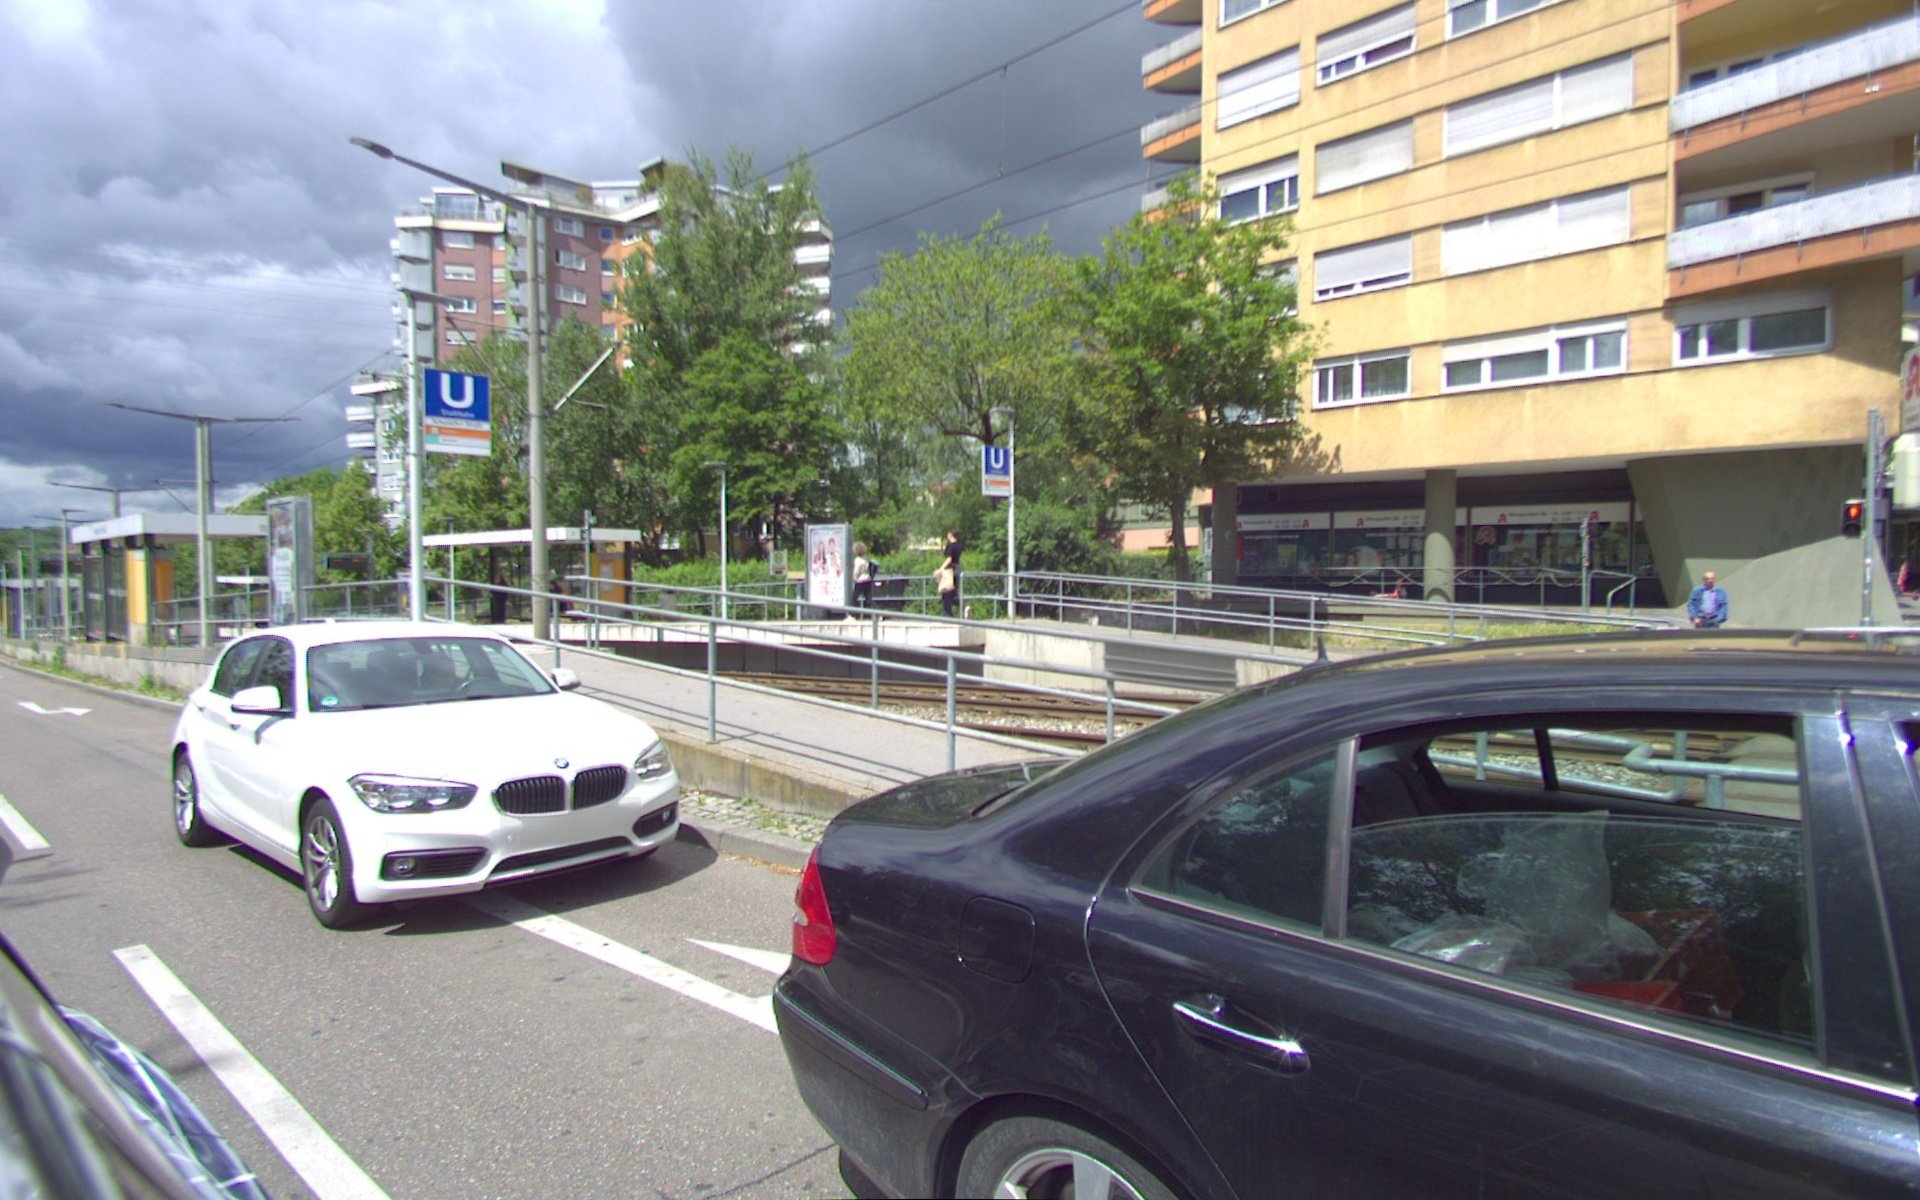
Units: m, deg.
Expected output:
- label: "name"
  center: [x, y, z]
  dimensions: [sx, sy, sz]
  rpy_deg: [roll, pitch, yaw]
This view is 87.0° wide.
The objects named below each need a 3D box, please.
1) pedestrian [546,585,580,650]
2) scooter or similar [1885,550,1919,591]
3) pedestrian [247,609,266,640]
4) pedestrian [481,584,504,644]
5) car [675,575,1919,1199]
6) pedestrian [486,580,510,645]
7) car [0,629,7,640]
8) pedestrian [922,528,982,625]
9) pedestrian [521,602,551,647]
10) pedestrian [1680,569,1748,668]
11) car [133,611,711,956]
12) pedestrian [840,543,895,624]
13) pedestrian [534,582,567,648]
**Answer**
- label: "pedestrian"
  center: [-12.065, 0.511, 30.775]
  dimensions: [0.572, 1.946, 0.761]
  rpy_deg: [-1, 0, 39]
- label: "scooter or similar"
  center: [26.368, -0.815, 28.305]
  dimensions: [0.544, 1.102, 1.731]
  rpy_deg: [-1, 0, 36]
- label: "pedestrian"
  center: [-39.699, 1.354, 57.102]
  dimensions: [0.763, 1.718, 0.767]
  rpy_deg: [-1, 0, -41]
- label: "pedestrian"
  center: [-16.006, 0.469, 34.631]
  dimensions: [0.557, 2.029, 0.510]
  rpy_deg: [-1, 0, 41]
- label: "car"
  center: [1.723, 0.670, 1.502]
  dimensions: [4.674, 1.409, 1.950]
  rpy_deg: [-1, 0, 42]
- label: "pedestrian"
  center: [-15.542, 0.421, 34.047]
  dimensions: [0.608, 2.157, 0.525]
  rpy_deg: [-1, 0, 44]
- label: "car"
  center: [-113.770, 4.029, 119.393]
  dimensions: [4.022, 1.224, 1.781]
  rpy_deg: [-1, 0, 44]
- label: "pedestrian"
  center: [-0.149, -0.435, 19.222]
  dimensions: [0.747, 1.787, 0.854]
  rpy_deg: [-1, 0, 40]
- label: "pedestrian"
  center: [-13.549, 0.777, 32.356]
  dimensions: [0.658, 1.425, 0.637]
  rpy_deg: [-1, 0, 41]
- label: "pedestrian"
  center: [13.010, 0.307, 17.477]
  dimensions: [0.909, 1.609, 0.712]
  rpy_deg: [-1, 5, 37]
- label: "car"
  center: [-3.584, 0.830, 6.373]
  dimensions: [4.272, 1.462, 1.771]
  rpy_deg: [-1, -2, 40]
- label: "pedestrian"
  center: [-1.896, -0.328, 20.773]
  dimensions: [0.747, 1.618, 0.854]
  rpy_deg: [-1, 0, 40]
- label: "pedestrian"
  center: [-12.758, 0.467, 31.554]
  dimensions: [0.584, 2.029, 0.770]
  rpy_deg: [-1, 0, 41]
